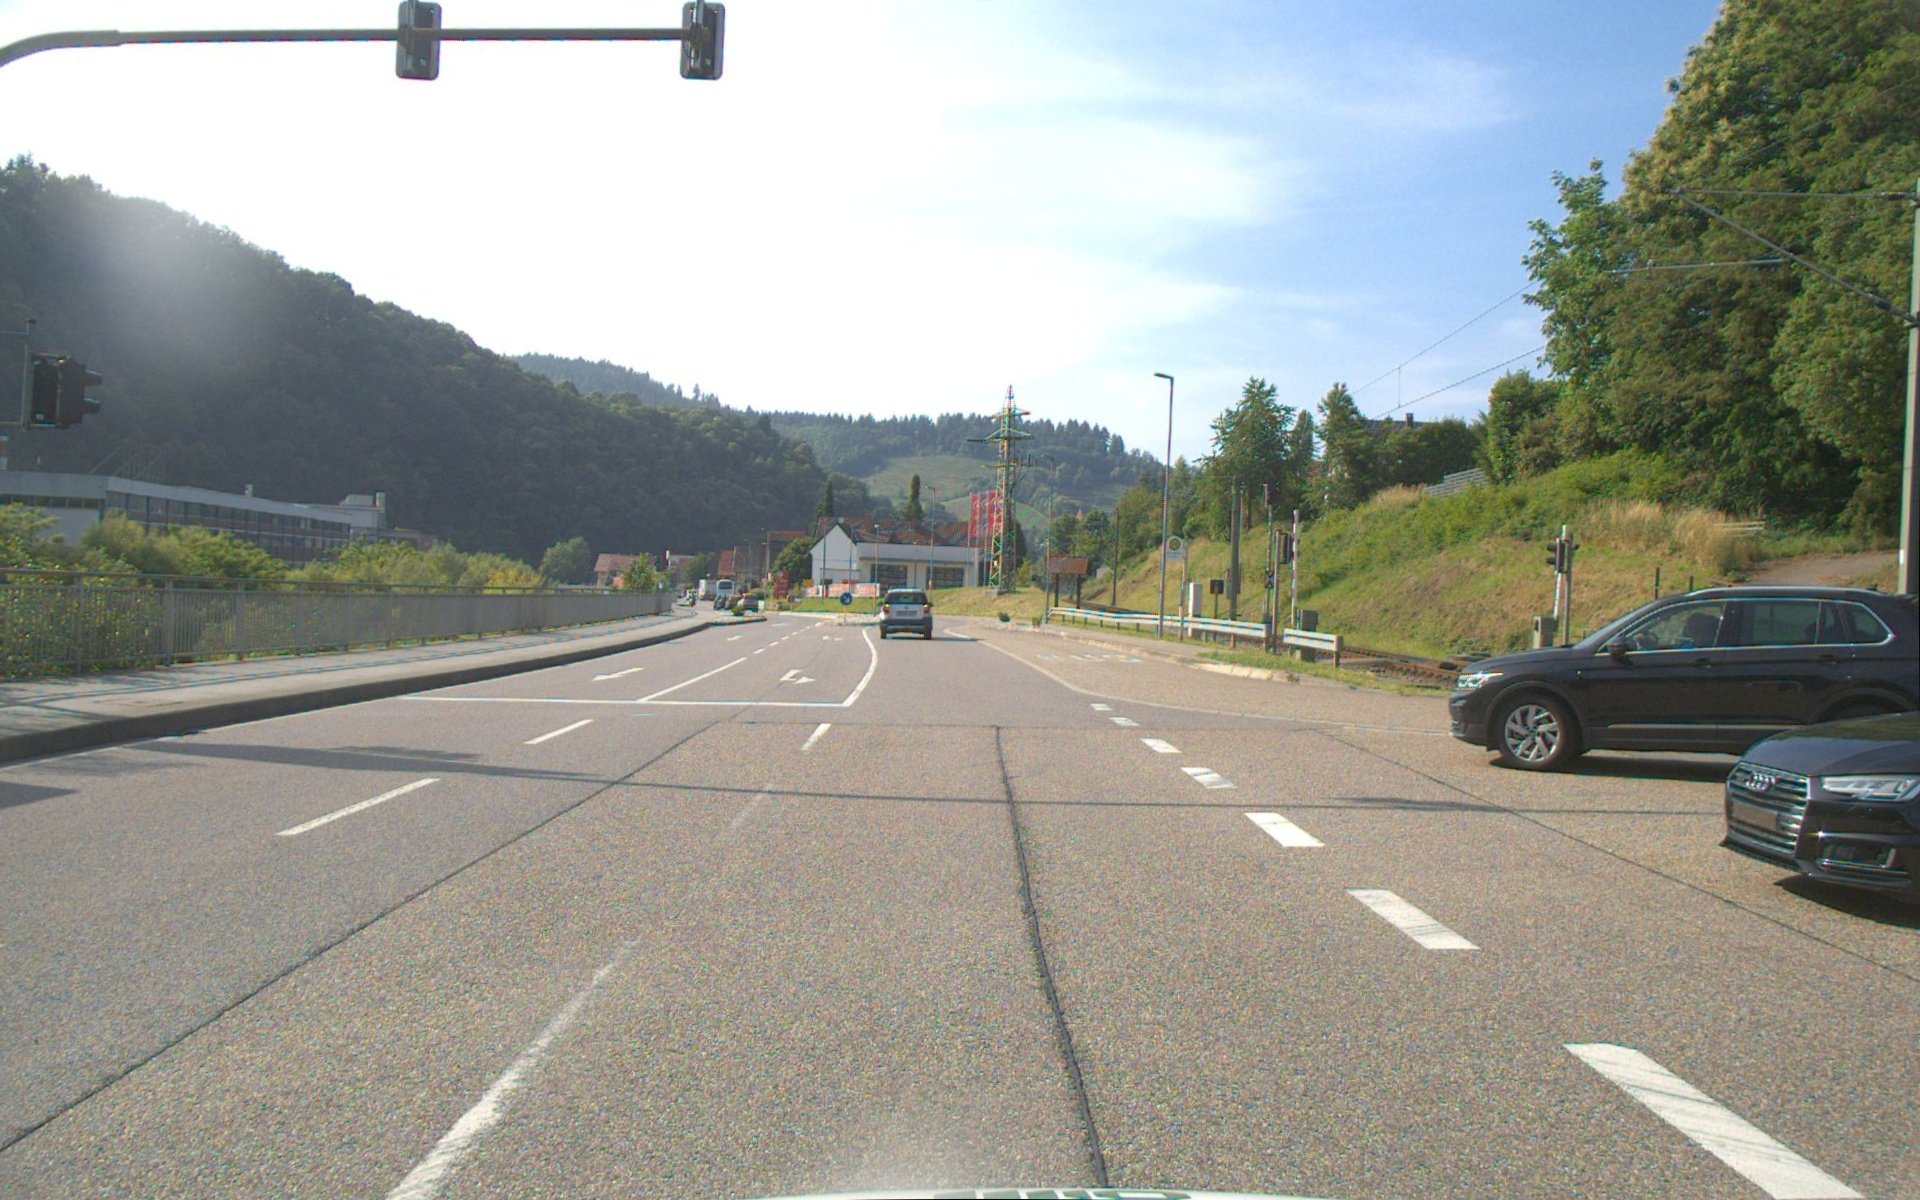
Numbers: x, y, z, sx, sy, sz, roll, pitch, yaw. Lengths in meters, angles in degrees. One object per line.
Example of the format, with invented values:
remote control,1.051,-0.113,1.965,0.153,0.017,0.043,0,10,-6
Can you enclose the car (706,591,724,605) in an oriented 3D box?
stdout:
car,-28.679,-0.230,193.410,1.432,1.460,2.918,2,1,-21

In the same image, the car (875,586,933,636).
car,-1.934,0.376,56.347,1.824,1.571,4.370,2,0,-3

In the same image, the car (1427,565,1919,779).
car,6.801,0.567,14.942,4.638,1.688,1.927,1,0,30

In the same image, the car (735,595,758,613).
car,-19.518,0.336,150.966,1.432,1.460,2.919,2,1,-19

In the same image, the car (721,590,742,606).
car,-22.972,-0.219,166.064,1.432,1.460,2.918,2,1,-21

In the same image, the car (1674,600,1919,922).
car,6.459,0.772,8.689,4.629,1.495,1.842,0,0,0
